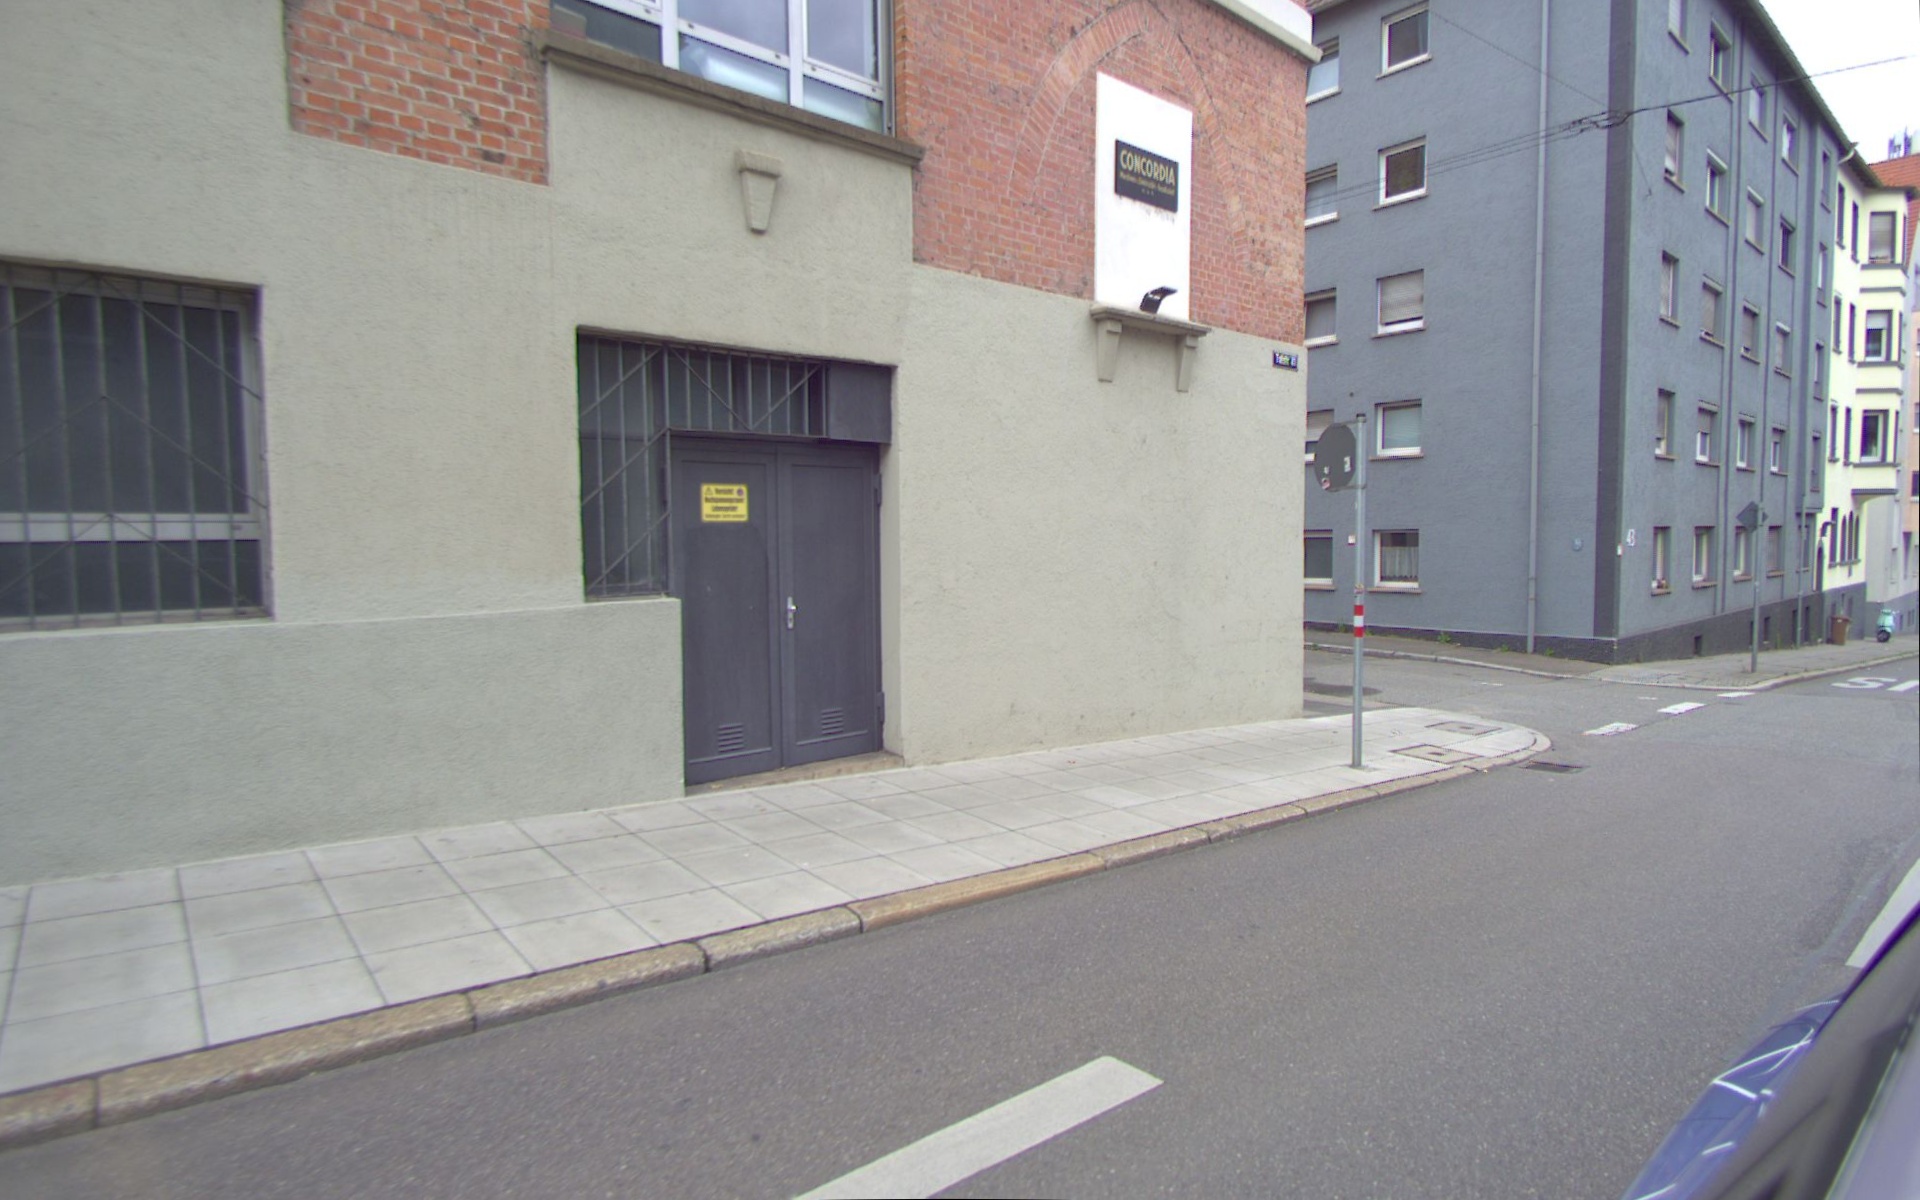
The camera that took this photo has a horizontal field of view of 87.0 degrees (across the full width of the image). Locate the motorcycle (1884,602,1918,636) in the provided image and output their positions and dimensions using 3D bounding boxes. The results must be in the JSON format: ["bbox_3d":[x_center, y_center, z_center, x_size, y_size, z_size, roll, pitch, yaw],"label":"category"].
[{"bbox_3d":[33.209,0.665,35.701,1.624,1.124,0.566,0,6,-40],"label":"motorcycle"}]
